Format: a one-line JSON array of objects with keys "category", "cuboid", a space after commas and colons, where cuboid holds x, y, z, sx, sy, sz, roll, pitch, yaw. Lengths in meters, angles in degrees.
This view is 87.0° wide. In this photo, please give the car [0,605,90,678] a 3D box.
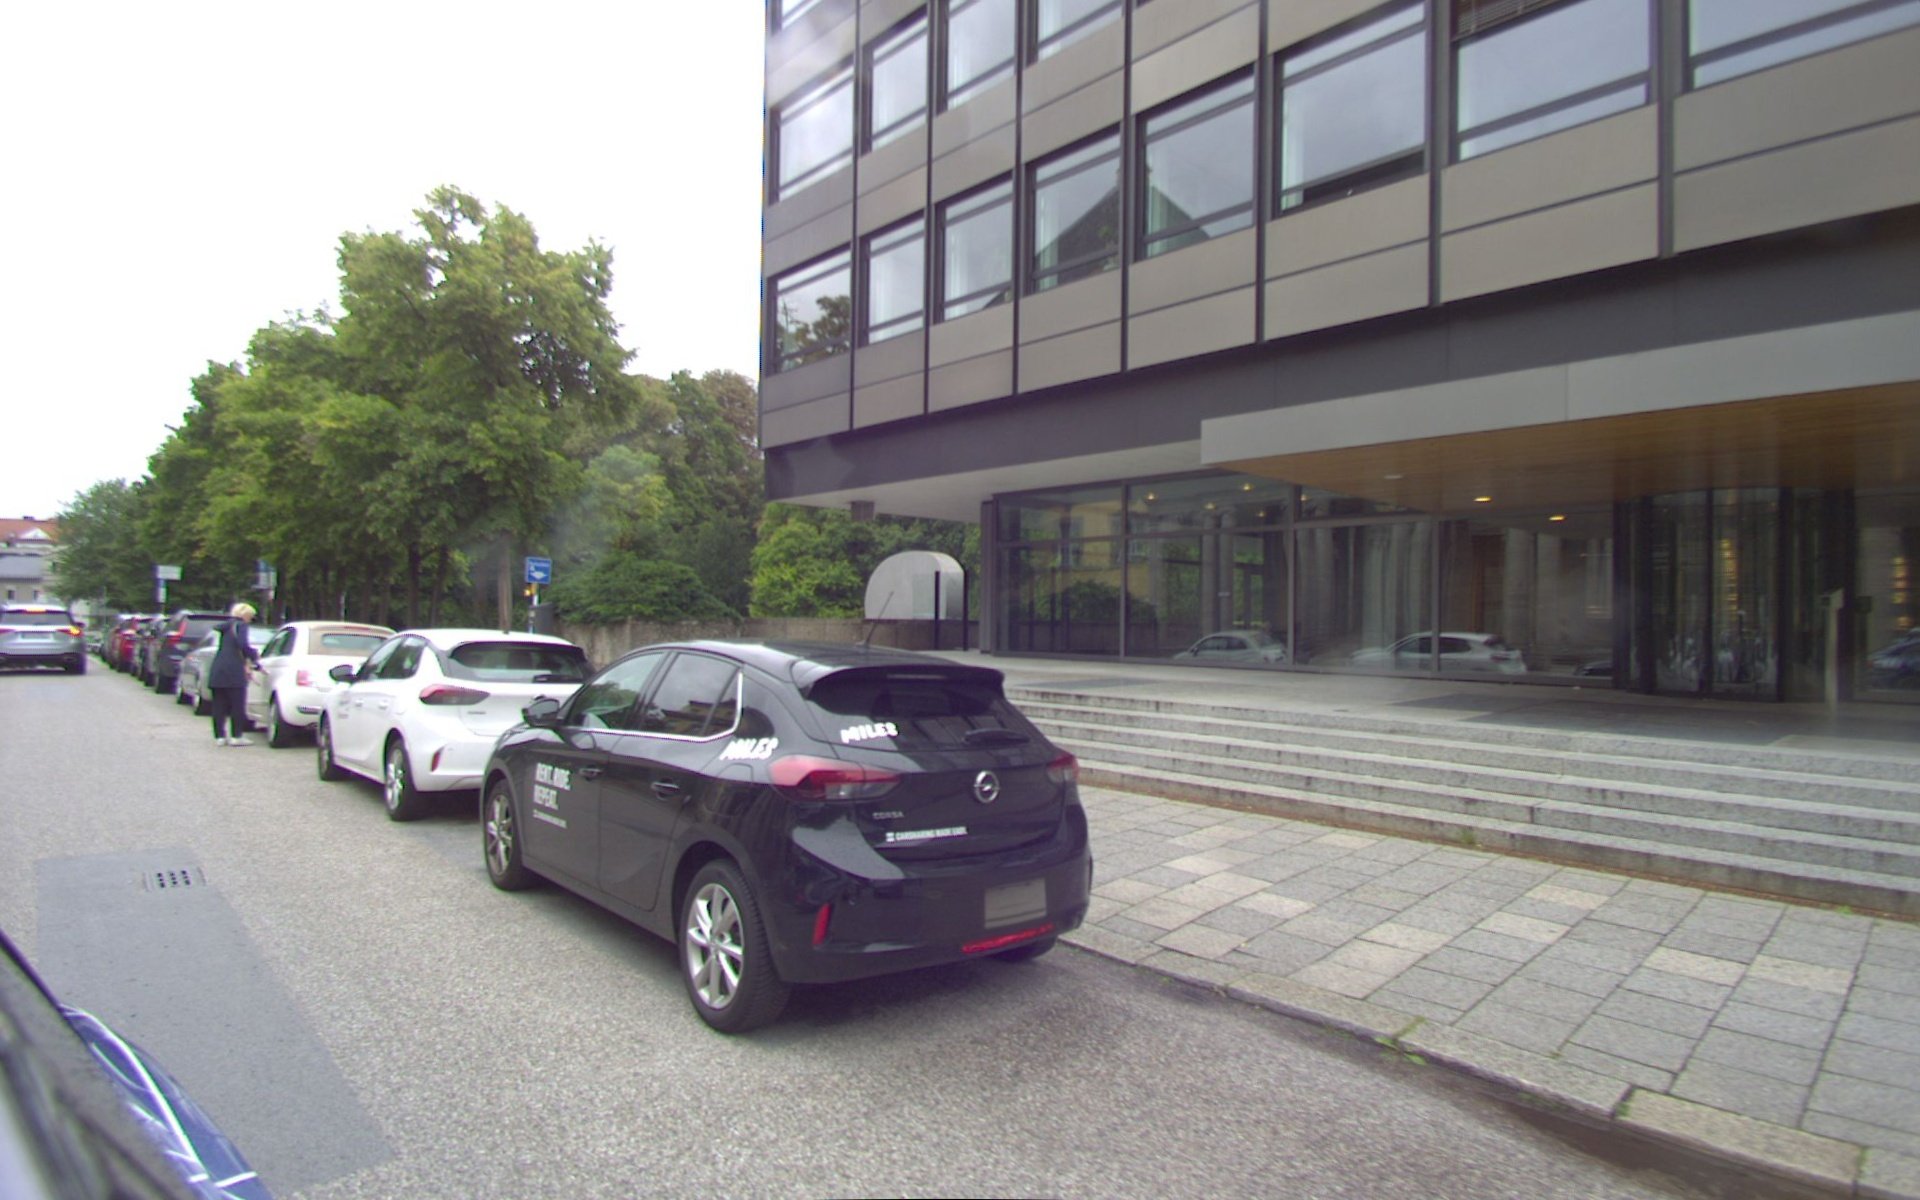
[{"category": "car", "cuboid": [-23.622, 1.028, 25.849, 2.000, 1.702, 4.683, 2, -2, -42]}]

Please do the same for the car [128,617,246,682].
[{"category": "car", "cuboid": [-19.468, 1.189, 25.407, 1.969, 1.472, 4.653, 2, -2, -42]}]

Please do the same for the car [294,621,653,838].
[{"category": "car", "cuboid": [-4.522, 0.968, 9.046, 1.661, 1.451, 4.284, 5, -4, -42]}]

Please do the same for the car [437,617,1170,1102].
[{"category": "car", "cuboid": [-1.170, 0.867, 5.279, 1.718, 1.472, 4.242, 4, -4, -41]}]

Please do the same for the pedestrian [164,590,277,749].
[{"category": "pedestrian", "cuboid": [-8.595, 0.802, 11.803, 0.679, 1.765, 0.895, 2, -3, -13]}]

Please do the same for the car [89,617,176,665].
[{"category": "car", "cuboid": [-27.333, 1.320, 33.377, 1.969, 1.472, 4.369, 2, -2, -42]}]

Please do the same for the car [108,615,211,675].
[{"category": "car", "cuboid": [-22.734, 1.237, 28.691, 1.969, 1.555, 4.369, 2, -2, -42]}]

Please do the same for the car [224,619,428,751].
[{"category": "car", "cuboid": [-8.306, 1.010, 13.141, 1.525, 1.482, 3.556, 4, -3, -43]}]

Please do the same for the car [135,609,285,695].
[{"category": "car", "cuboid": [-15.814, 1.036, 21.247, 1.970, 1.595, 4.526, 3, -3, -43]}]

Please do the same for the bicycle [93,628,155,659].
[{"category": "bicycle", "cuboid": [-30.996, 1.605, 37.558, 0.598, 1.116, 1.678, 0, -1, 38]}]

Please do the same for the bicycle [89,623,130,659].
[{"category": "bicycle", "cuboid": [-32.292, 1.540, 38.438, 0.566, 1.292, 1.422, -1, 0, -11]}]

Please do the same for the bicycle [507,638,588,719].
[{"category": "bicycle", "cuboid": [-6.543, 1.208, 16.032, 0.635, 1.173, 1.528, -1, 0, -44]}]

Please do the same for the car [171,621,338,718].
[{"category": "car", "cuboid": [-11.900, 1.115, 16.958, 1.736, 1.411, 4.222, 6, -5, -41]}]
